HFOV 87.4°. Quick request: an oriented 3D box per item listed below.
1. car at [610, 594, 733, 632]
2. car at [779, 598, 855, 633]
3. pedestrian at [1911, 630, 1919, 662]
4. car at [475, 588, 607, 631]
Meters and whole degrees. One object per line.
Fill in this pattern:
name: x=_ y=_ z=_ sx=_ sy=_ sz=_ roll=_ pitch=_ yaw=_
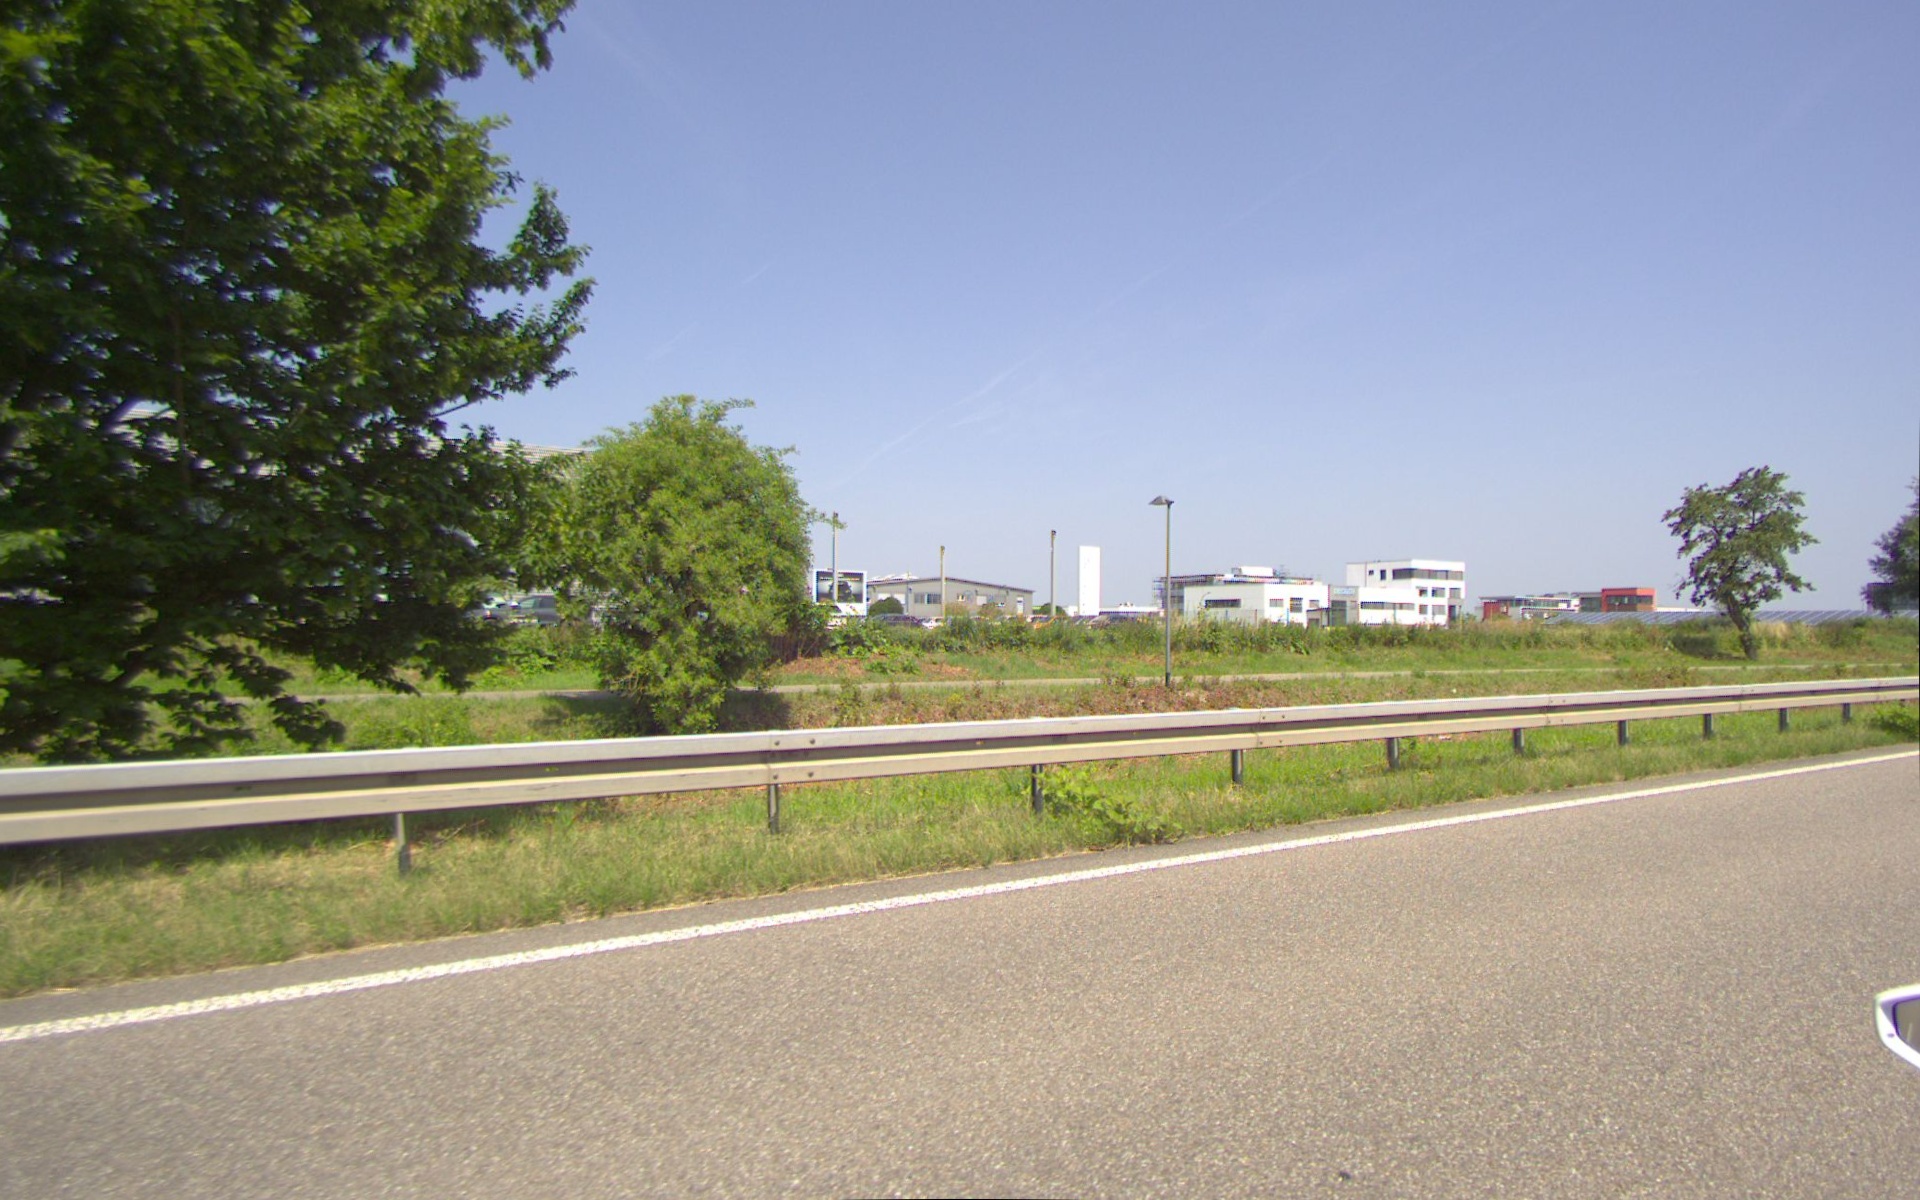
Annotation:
car: x=-11.886 y=0.579 z=41.496 sx=4.609 sy=1.456 sz=1.740 roll=1 pitch=-3 yaw=-30
car: x=-6.419 y=0.742 z=44.813 sx=1.608 sy=1.456 sz=4.198 roll=1 pitch=-3 yaw=-35
pedestrian: x=53.262 y=2.555 z=55.616 sx=0.809 sy=1.773 sz=0.577 roll=1 pitch=-2 yaw=-25
car: x=-16.383 y=0.412 z=39.317 sx=4.610 sy=1.557 sz=1.739 roll=1 pitch=-3 yaw=-30
